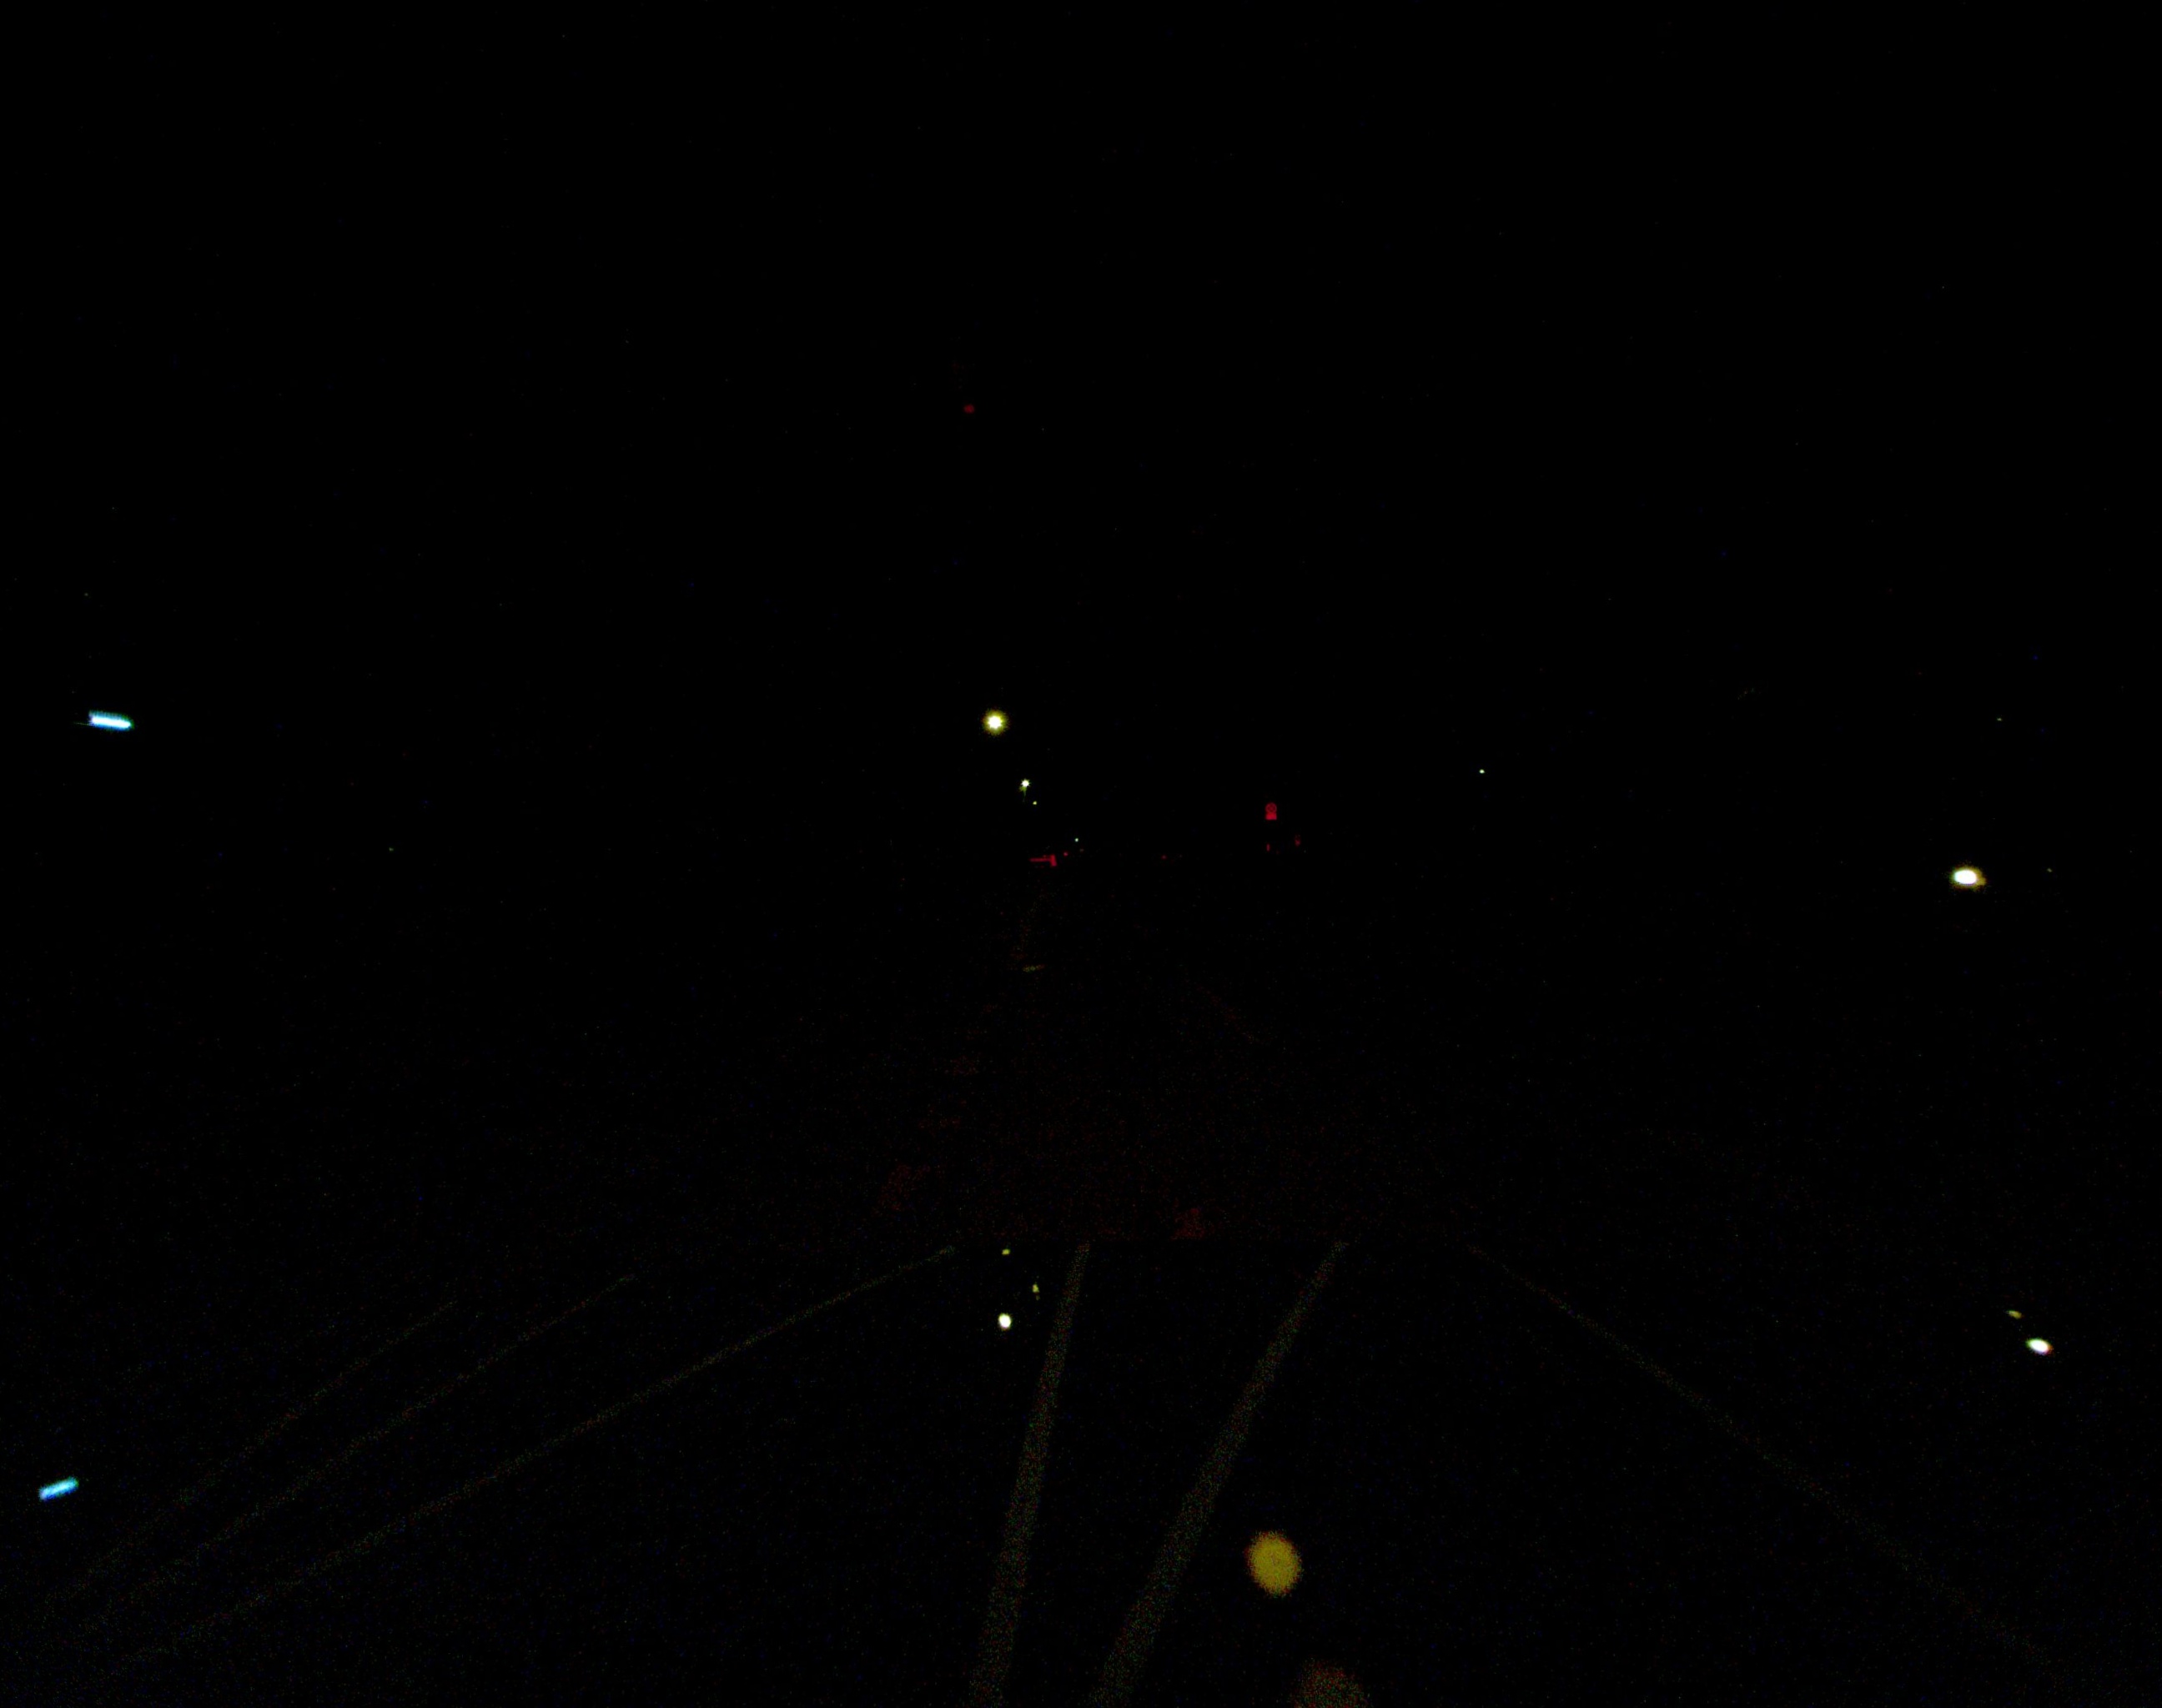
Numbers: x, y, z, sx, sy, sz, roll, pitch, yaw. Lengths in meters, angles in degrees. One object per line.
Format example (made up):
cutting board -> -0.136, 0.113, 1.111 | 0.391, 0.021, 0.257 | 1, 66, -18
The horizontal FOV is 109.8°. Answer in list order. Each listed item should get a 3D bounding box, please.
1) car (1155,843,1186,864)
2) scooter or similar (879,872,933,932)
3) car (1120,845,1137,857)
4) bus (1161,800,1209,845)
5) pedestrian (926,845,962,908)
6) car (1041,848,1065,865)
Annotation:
car -> 7.106, -0.069, 60.803 | 1.806, 1.583, 3.999 | -2, 1, -2
scooter or similar -> -3.687, 0.998, 16.067 | 0.468, 1.195, 1.137 | -2, 0, 24
car -> 6.248, -0.377, 100.286 | 1.863, 1.484, 4.080 | -2, 1, 1
bus -> 17.467, -5.171, 129.144 | 6.135, 6.898, 14.781 | -2, 1, 1
pedestrian -> -4.201, 0.668, 23.326 | 0.819, 1.854, 1.034 | -2, 1, 1
car -> -2.887, 0.205, 78.182 | 1.998, 1.638, 4.001 | 1, 1, 4
